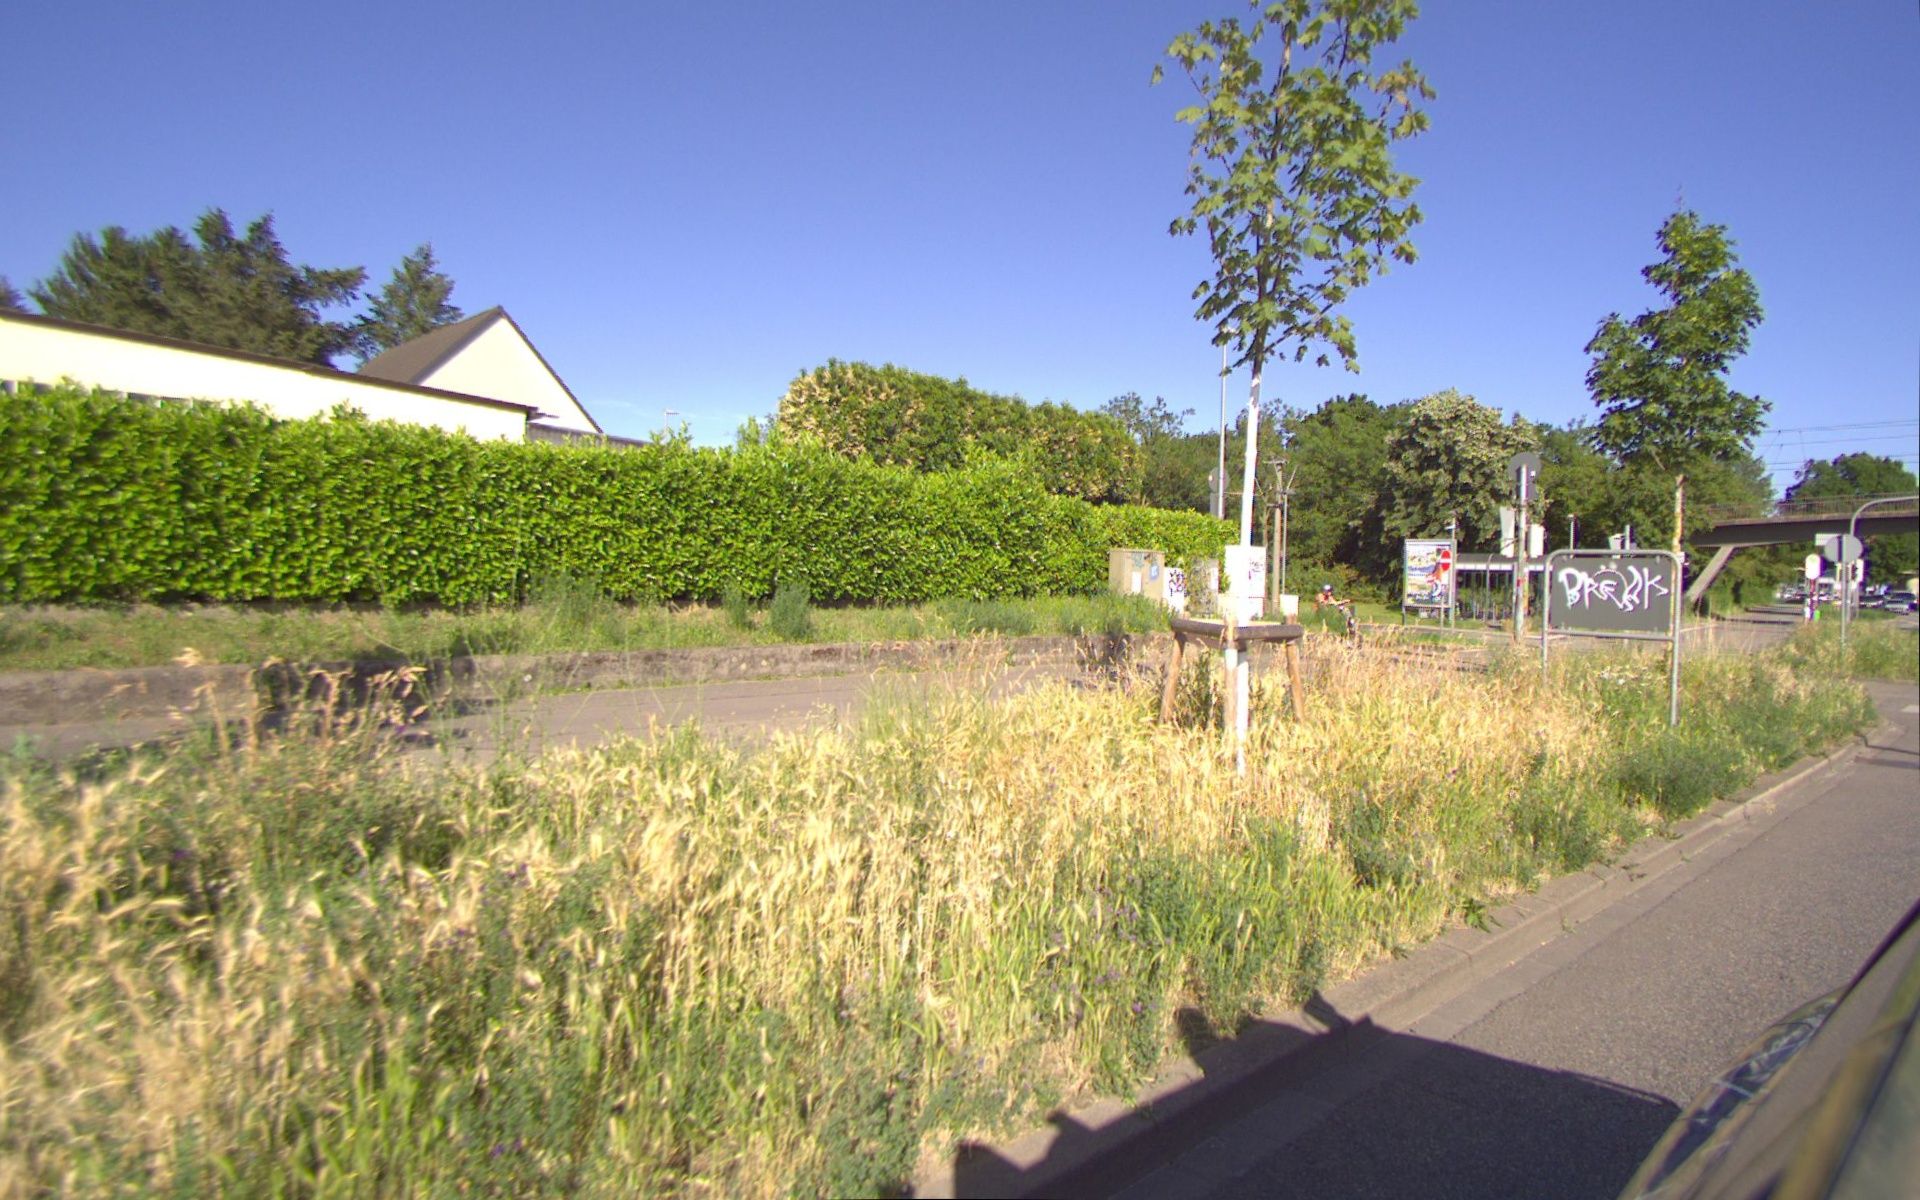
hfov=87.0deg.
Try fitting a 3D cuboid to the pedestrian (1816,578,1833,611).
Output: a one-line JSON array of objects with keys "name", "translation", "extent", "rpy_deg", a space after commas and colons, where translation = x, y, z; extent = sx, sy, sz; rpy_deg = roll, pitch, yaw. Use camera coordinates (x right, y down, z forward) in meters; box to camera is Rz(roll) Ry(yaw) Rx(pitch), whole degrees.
[{"name": "pedestrian", "translation": [43.868, -0.286, 51.356], "extent": [0.587, 1.683, 0.706], "rpy_deg": [2, 1, 41]}]

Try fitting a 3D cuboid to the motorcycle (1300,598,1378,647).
[{"name": "motorcycle", "translation": [9.200, 0.521, 24.621], "extent": [0.443, 1.084, 1.760], "rpy_deg": [0, 2, -40]}]

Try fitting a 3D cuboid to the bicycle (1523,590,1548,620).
[{"name": "bicycle", "translation": [24.248, 0.220, 42.630], "extent": [1.758, 1.079, 0.430], "rpy_deg": [-7, 8, -44]}]

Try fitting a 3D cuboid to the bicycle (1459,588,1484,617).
[{"name": "bicycle", "translation": [22.499, 0.098, 44.492], "extent": [1.758, 1.079, 0.430], "rpy_deg": [-7, 8, -44]}]

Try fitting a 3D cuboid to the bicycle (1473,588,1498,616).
[{"name": "bicycle", "translation": [22.903, 0.079, 44.089], "extent": [1.758, 1.079, 0.430], "rpy_deg": [-7, 8, -44]}]

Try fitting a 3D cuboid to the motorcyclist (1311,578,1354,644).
[{"name": "motorcyclist", "translation": [9.106, 0.259, 24.753], "extent": [0.687, 1.577, 0.694], "rpy_deg": [0, 2, -40]}]

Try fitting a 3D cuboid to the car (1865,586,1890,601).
[{"name": "car", "translation": [101.158, -0.738, 111.609], "extent": [1.865, 1.641, 3.782], "rpy_deg": [1, 1, 39]}]

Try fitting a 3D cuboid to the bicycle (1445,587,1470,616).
[{"name": "bicycle", "translation": [22.099, 0.054, 44.957], "extent": [1.758, 1.079, 0.430], "rpy_deg": [-7, 8, -44]}]

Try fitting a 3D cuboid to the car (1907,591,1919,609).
[{"name": "car", "translation": [92.263, 0.001, 97.114], "extent": [1.867, 1.641, 3.779], "rpy_deg": [1, 1, 41]}]

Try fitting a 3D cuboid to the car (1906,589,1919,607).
[{"name": "car", "translation": [109.856, -0.224, 115.889], "extent": [1.990, 2.039, 3.944], "rpy_deg": [1, 1, 39]}]
